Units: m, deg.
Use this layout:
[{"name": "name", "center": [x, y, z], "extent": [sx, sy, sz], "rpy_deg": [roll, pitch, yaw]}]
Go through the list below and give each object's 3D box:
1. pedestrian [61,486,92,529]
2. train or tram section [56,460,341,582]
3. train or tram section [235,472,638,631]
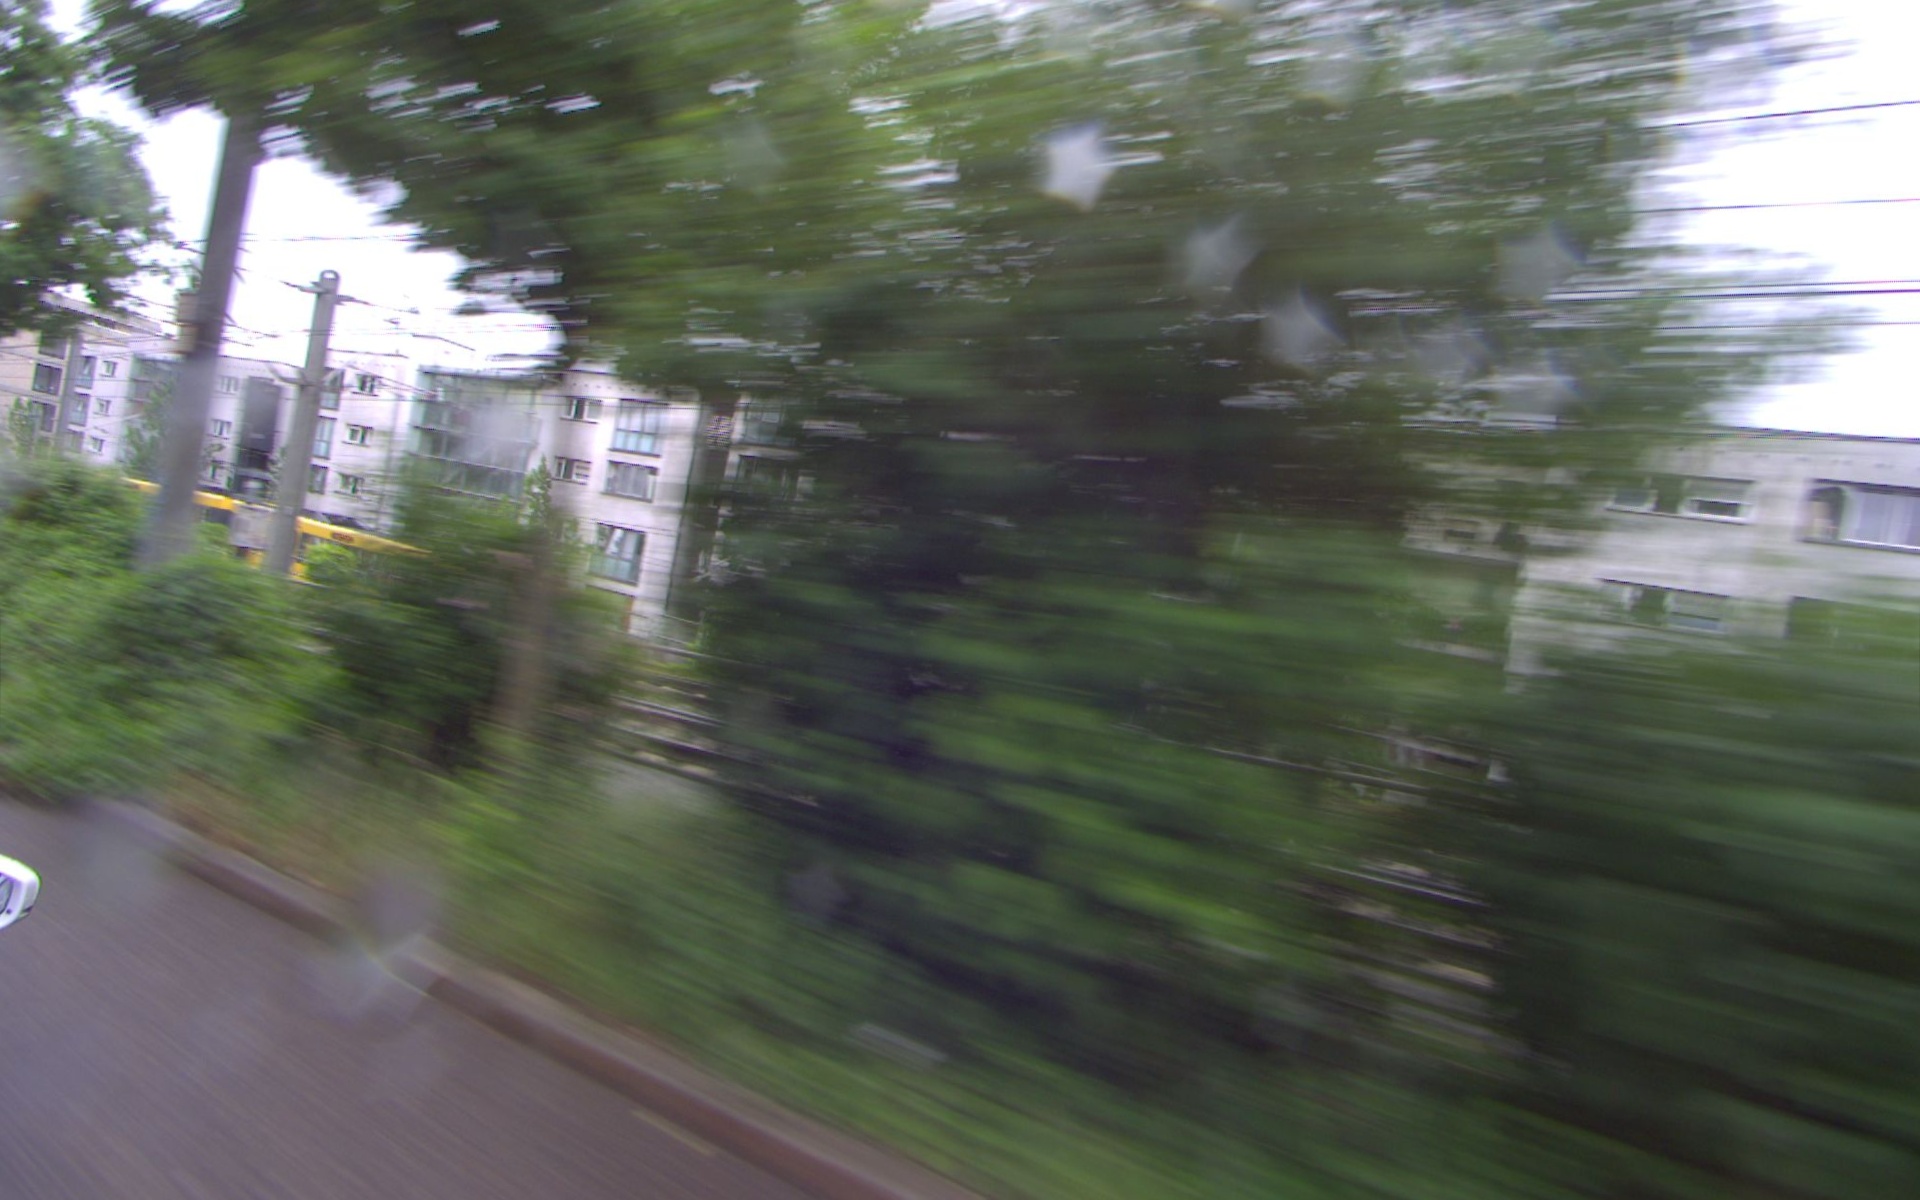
[{"name": "pedestrian", "center": [-42.002, -4.376, 47.820], "extent": [0.804, 1.901, 0.723], "rpy_deg": [5, -2, 31]}, {"name": "train or tram section", "center": [-35.632, -3.858, 46.497], "extent": [18.495, 3.991, 3.339], "rpy_deg": [7, -2, 30]}, {"name": "train or tram section", "center": [-20.046, -2.060, 37.252], "extent": [18.955, 3.991, 3.339], "rpy_deg": [7, -2, 30]}]
